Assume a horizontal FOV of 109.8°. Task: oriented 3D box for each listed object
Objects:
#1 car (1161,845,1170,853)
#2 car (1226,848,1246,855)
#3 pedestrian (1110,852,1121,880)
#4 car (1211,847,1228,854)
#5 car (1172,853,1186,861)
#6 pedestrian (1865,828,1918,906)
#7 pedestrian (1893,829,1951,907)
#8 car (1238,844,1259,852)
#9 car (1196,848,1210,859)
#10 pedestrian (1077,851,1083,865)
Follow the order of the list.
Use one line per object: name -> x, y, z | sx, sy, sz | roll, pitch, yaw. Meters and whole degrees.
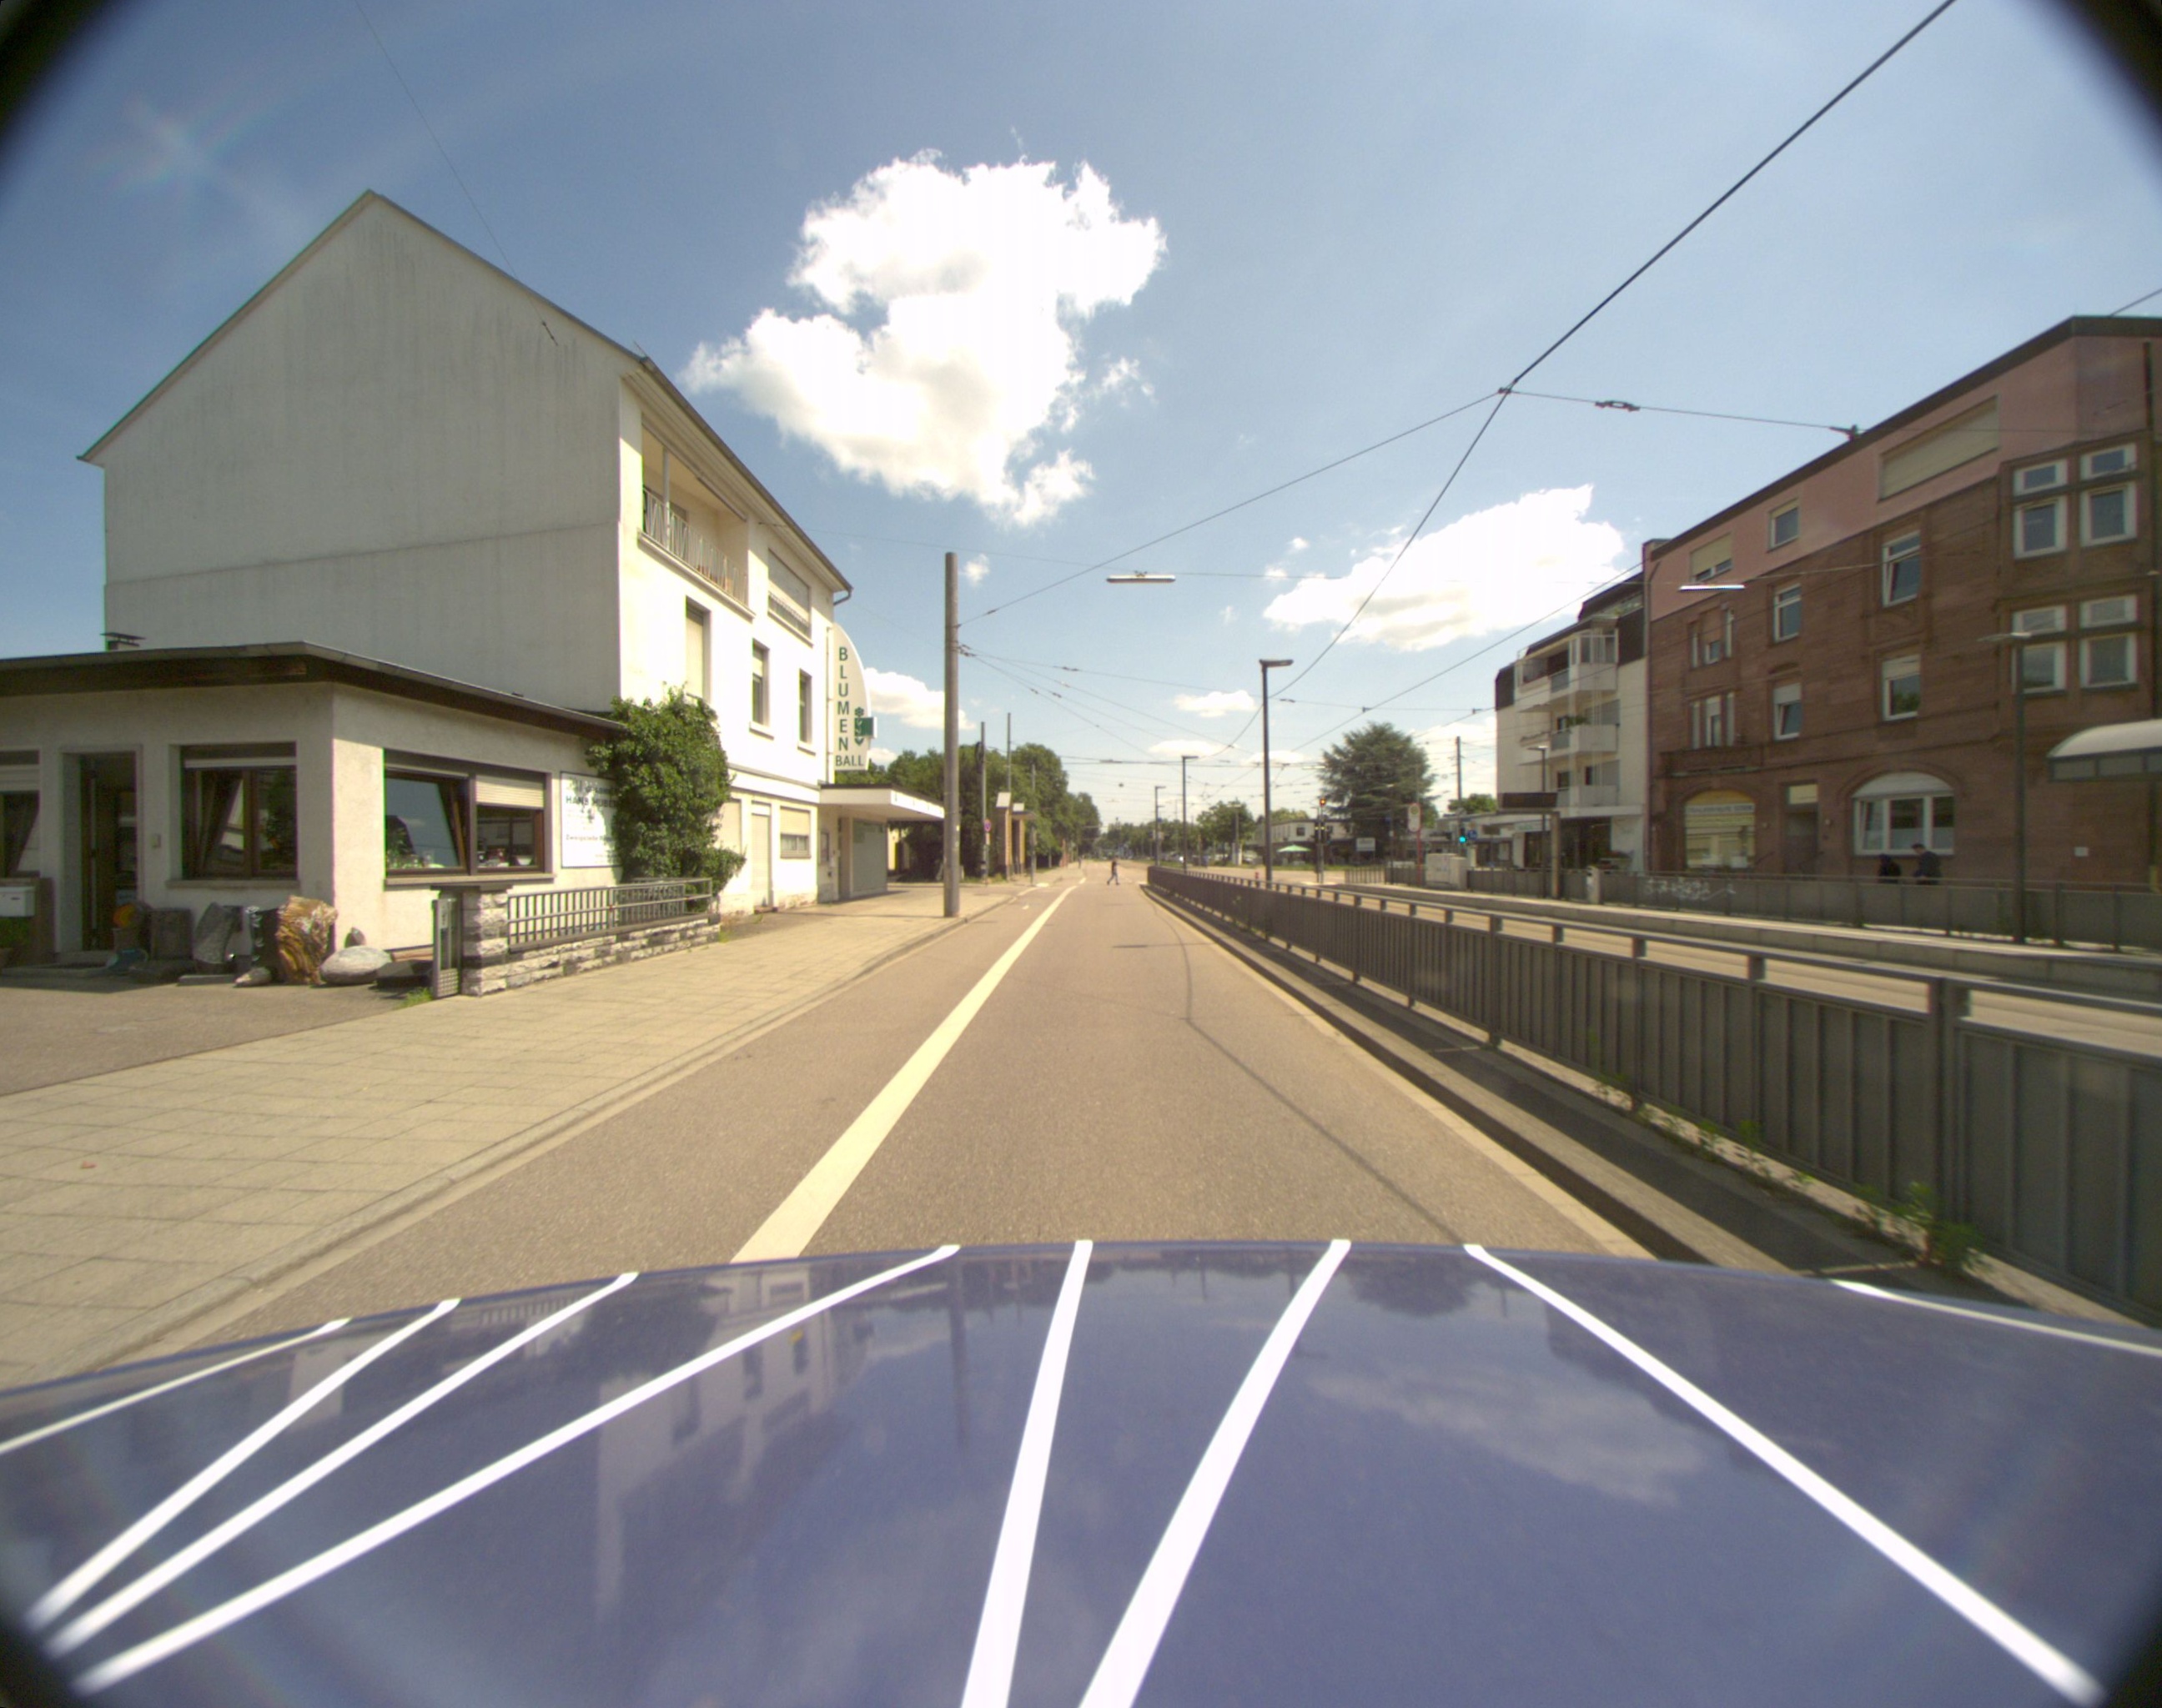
car -> 24.906, -1.485, 223.437 | 2.071, 2.089, 4.488 | -2, 1, -1
car -> 34.083, -0.548, 167.376 | 3.996, 1.726, 1.879 | 0, 1, 2
pedestrian -> 1.932, 0.667, 42.517 | 0.578, 1.547, 0.786 | 1, 2, 4
car -> 33.914, -0.919, 186.155 | 3.996, 1.726, 1.803 | 1, 1, 2
car -> 18.802, 0.508, 145.861 | 1.998, 1.463, 4.401 | 0, 0, 0
pedestrian -> 21.280, 0.342, 19.964 | 0.678, 2.002, 0.684 | -2, 2, -1
pedestrian -> 22.171, 0.366, 20.050 | 0.619, 2.002, 0.810 | 0, 1, -1
car -> 49.161, -1.727, 222.589 | 5.698, 2.467, 2.259 | 0, 1, -2
car -> 19.214, -0.125, 119.591 | 1.727, 1.673, 4.280 | 1, 0, 3
pedestrian -> -0.088, 0.497, 101.134 | 0.767, 1.841, 0.717 | 0, 1, -2
